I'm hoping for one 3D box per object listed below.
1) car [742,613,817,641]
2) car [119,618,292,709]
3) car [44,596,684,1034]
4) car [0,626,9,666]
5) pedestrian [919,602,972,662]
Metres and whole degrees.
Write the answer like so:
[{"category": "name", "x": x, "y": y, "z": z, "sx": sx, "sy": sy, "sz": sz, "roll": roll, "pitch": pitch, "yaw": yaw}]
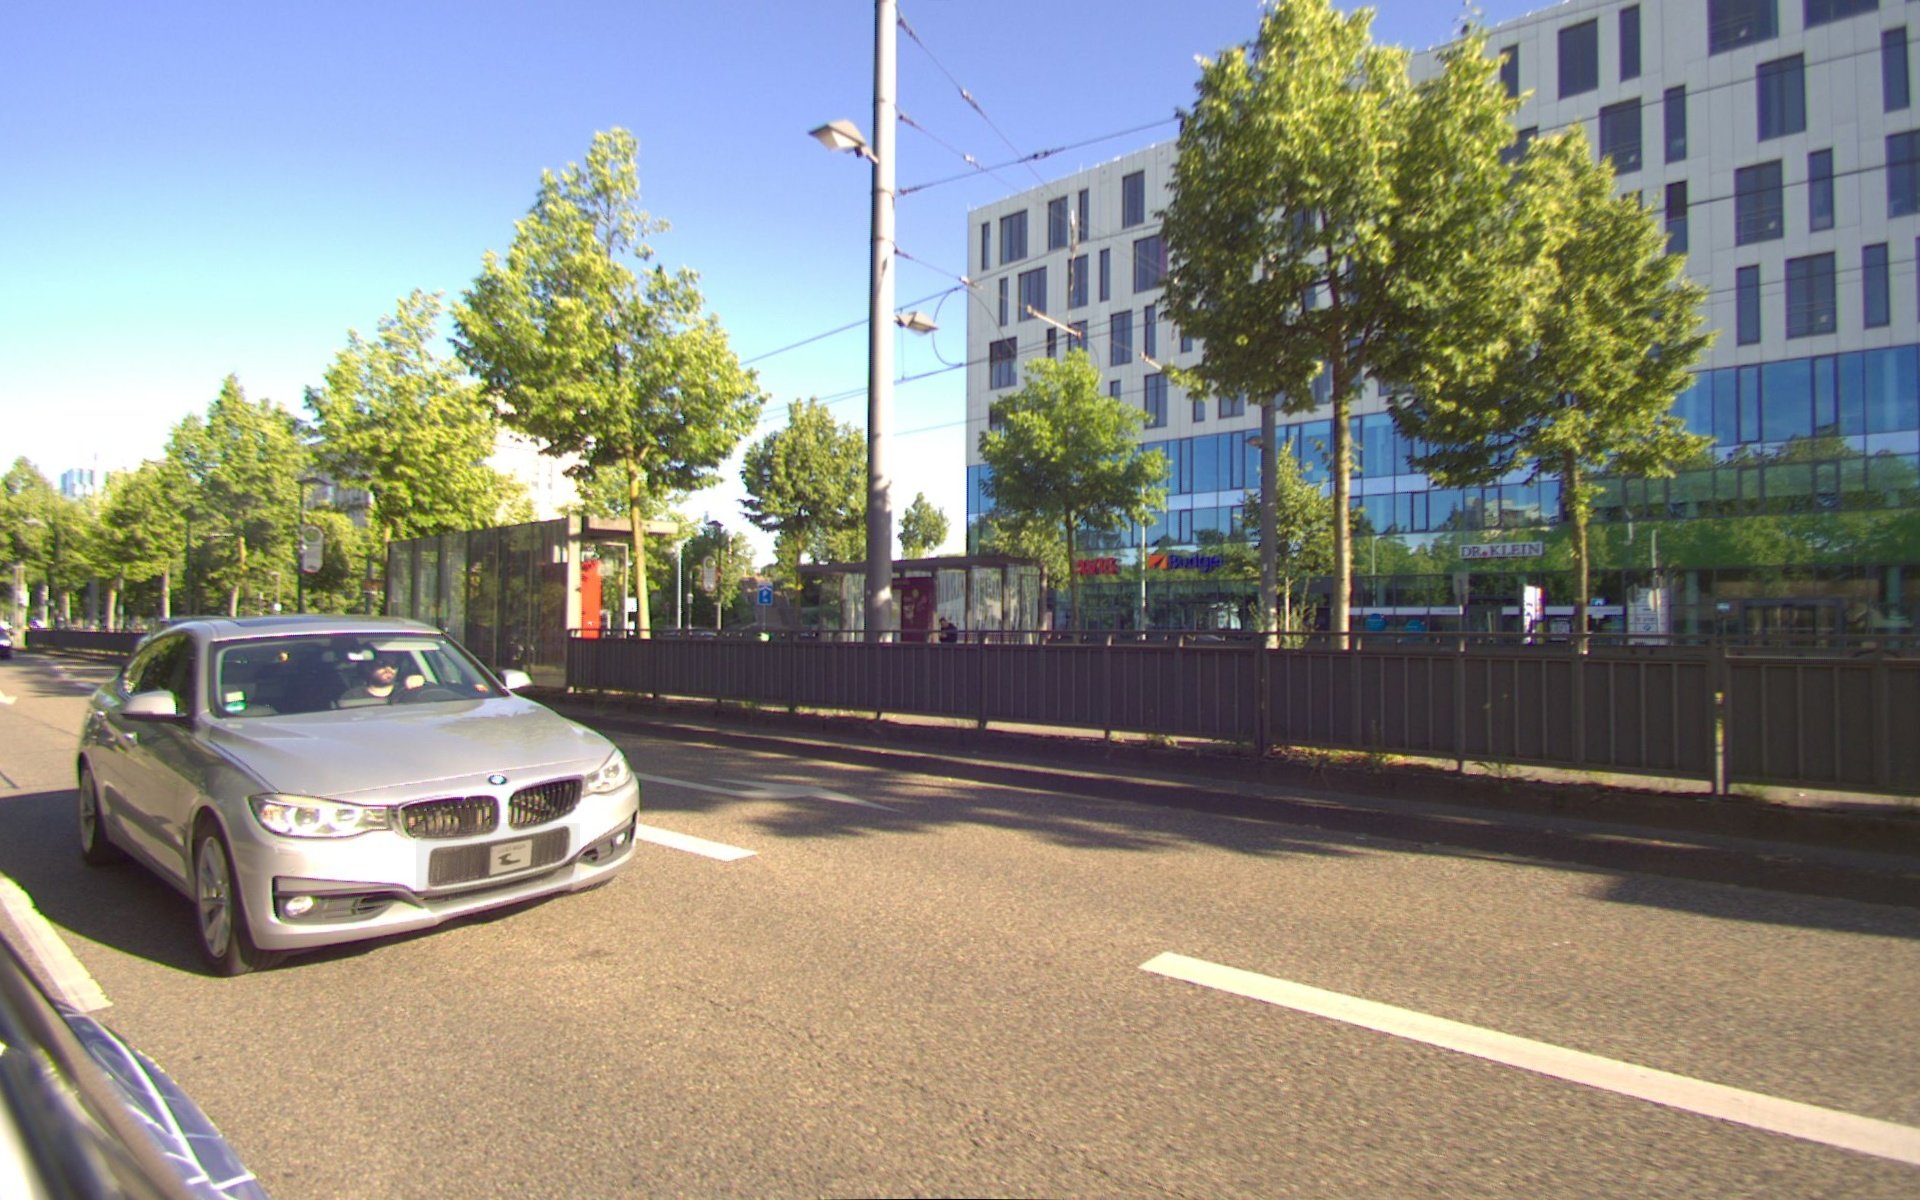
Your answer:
[{"category": "car", "x": -9.488, "y": 1.419, "z": 53.104, "sx": 3.999, "sy": 1.365, "sz": 1.850, "roll": -1, "pitch": -1, "yaw": 42}, {"category": "car", "x": -14.691, "y": 1.143, "z": 19.621, "sx": 4.340, "sy": 1.538, "sz": 1.780, "roll": -1, "pitch": -1, "yaw": 40}, {"category": "car", "x": -3.767, "y": 0.798, "z": 5.878, "sx": 4.908, "sy": 1.538, "sz": 1.780, "roll": -1, "pitch": -1, "yaw": 42}, {"category": "car", "x": -38.610, "y": 1.806, "z": 39.445, "sx": 4.340, "sy": 1.538, "sz": 1.780, "roll": -1, "pitch": -1, "yaw": 40}, {"category": "pedestrian", "x": -0.374, "y": 0.807, "z": 25.678, "sx": 1.053, "sy": 1.477, "sz": 0.845, "roll": 1, "pitch": -2, "yaw": -44}]
